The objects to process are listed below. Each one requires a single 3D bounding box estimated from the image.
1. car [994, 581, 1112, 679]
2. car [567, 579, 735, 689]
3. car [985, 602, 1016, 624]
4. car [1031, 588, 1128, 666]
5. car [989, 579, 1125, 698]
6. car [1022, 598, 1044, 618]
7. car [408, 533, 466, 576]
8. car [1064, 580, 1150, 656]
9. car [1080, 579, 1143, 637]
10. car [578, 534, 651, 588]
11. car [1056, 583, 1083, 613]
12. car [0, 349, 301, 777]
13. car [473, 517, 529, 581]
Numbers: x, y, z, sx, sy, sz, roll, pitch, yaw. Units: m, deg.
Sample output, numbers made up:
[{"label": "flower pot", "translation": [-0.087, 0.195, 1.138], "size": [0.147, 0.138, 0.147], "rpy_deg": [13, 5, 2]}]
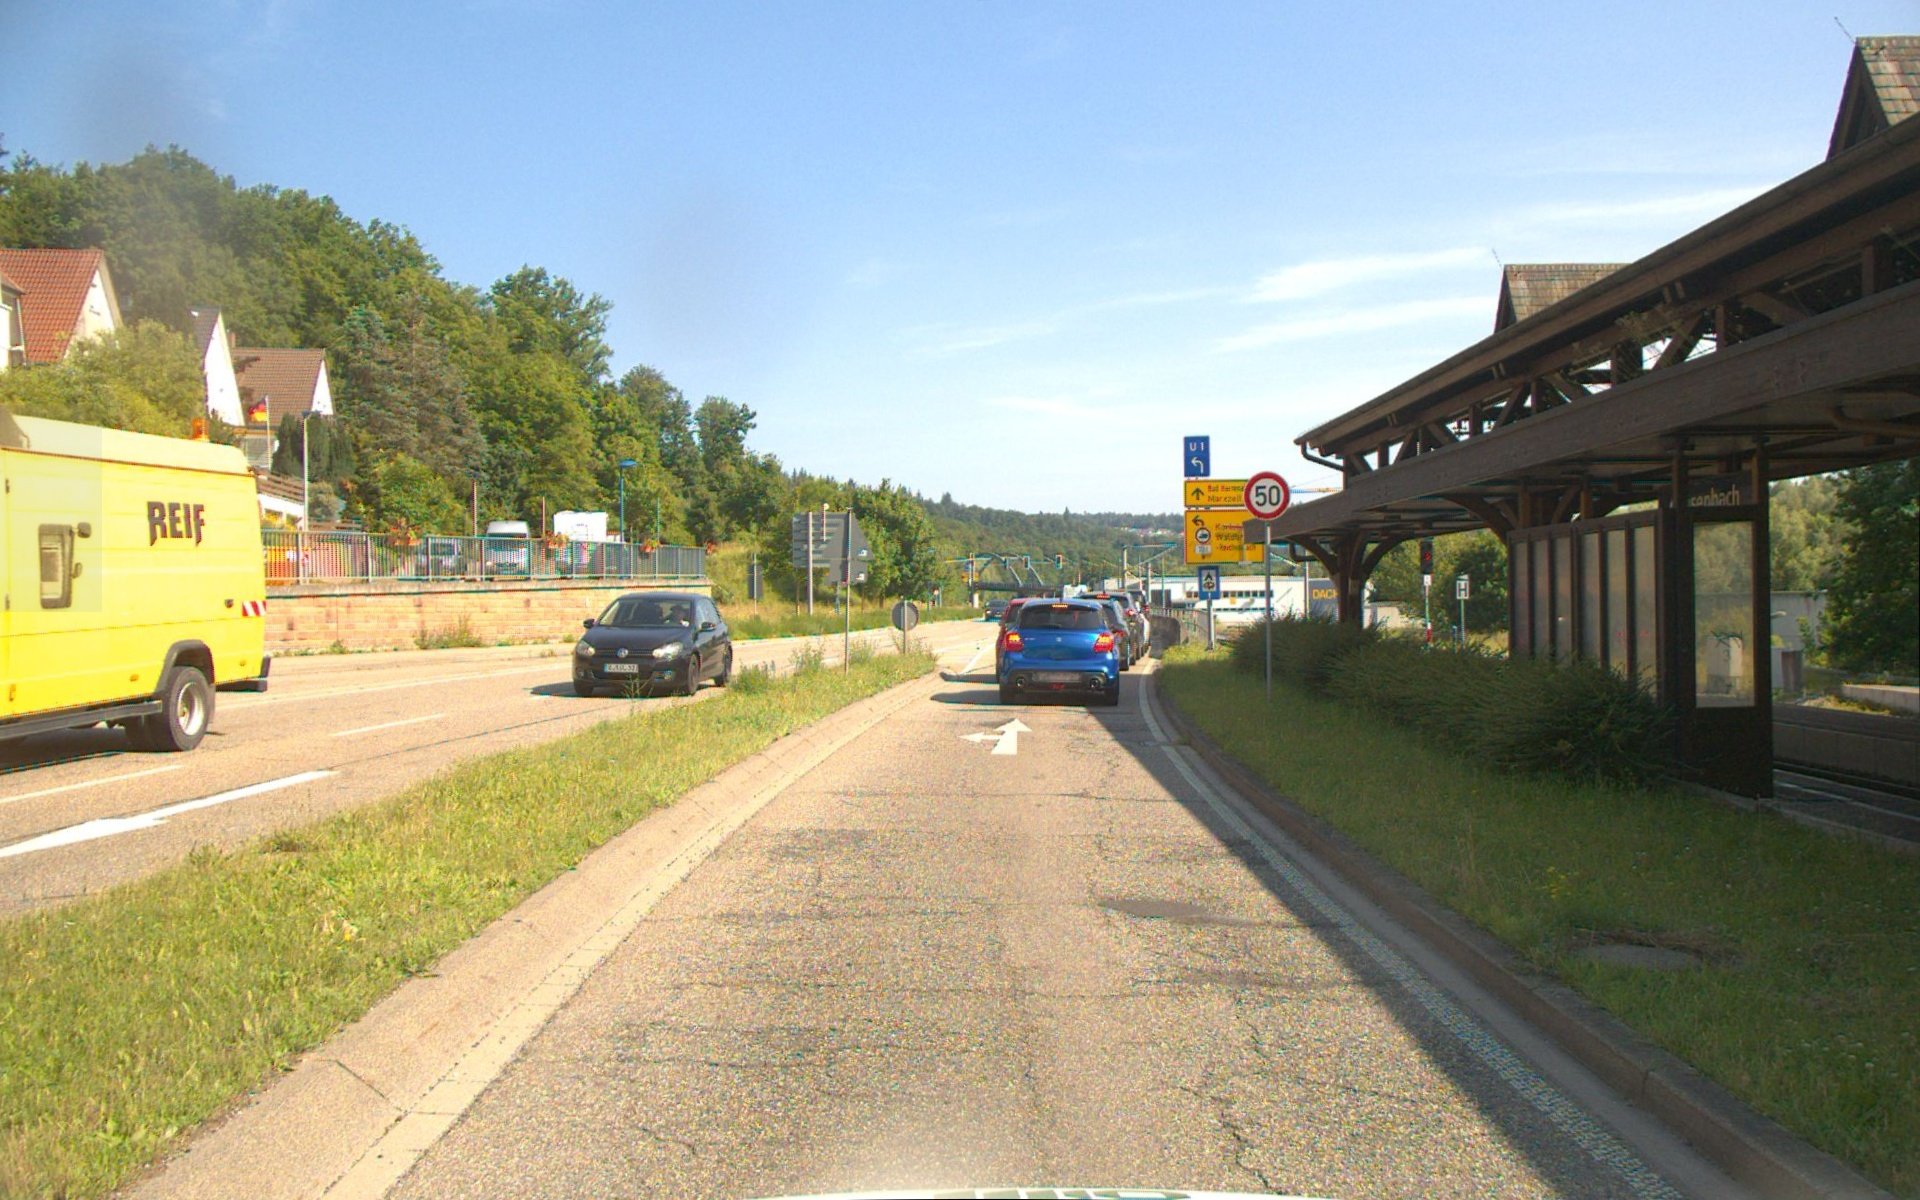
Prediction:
[{"label": "car", "translation": [1.777, 0.528, 30.395], "size": [1.951, 1.598, 4.002], "rpy_deg": [2, 0, 5]}, {"label": "car", "translation": [-4.517, 0.460, 24.734], "size": [1.709, 1.488, 4.044], "rpy_deg": [1, 0, 1]}, {"label": "car", "translation": [2.872, 0.908, 117.351], "size": [1.753, 1.496, 4.719], "rpy_deg": [1, 0, 7]}, {"label": "car", "translation": [2.629, 0.533, 35.618], "size": [1.951, 1.558, 4.604], "rpy_deg": [1, 0, 6]}, {"label": "car", "translation": [1.443, 0.522, 24.731], "size": [1.829, 1.575, 4.002], "rpy_deg": [1, 0, 3]}, {"label": "car", "translation": [6.965, 0.772, 158.052], "size": [1.952, 1.814, 4.002], "rpy_deg": [2, 0, 4]}, {"label": "car", "translation": [-21.784, -1.875, 69.036], "size": [1.861, 1.658, 3.989], "rpy_deg": [1, 0, -12]}, {"label": "car", "translation": [3.722, 0.416, 41.644], "size": [1.951, 1.716, 4.500], "rpy_deg": [3, 0, 5]}, {"label": "car", "translation": [5.081, 0.252, 55.488], "size": [1.951, 1.766, 4.003], "rpy_deg": [3, 0, 5]}, {"label": "car", "translation": [-13.463, -1.530, 64.724], "size": [1.980, 1.953, 4.729], "rpy_deg": [3, 1, -3]}, {"label": "car", "translation": [8.413, -0.130, 126.926], "size": [1.952, 2.181, 4.722], "rpy_deg": [2, 0, 4]}, {"label": "car", "translation": [-8.028, -0.301, 13.439], "size": [2.416, 3.063, 6.468], "rpy_deg": [2, 0, 2]}, {"label": "car", "translation": [-19.290, -2.142, 69.638], "size": [2.058, 2.486, 5.764], "rpy_deg": [2, 1, -14]}]
